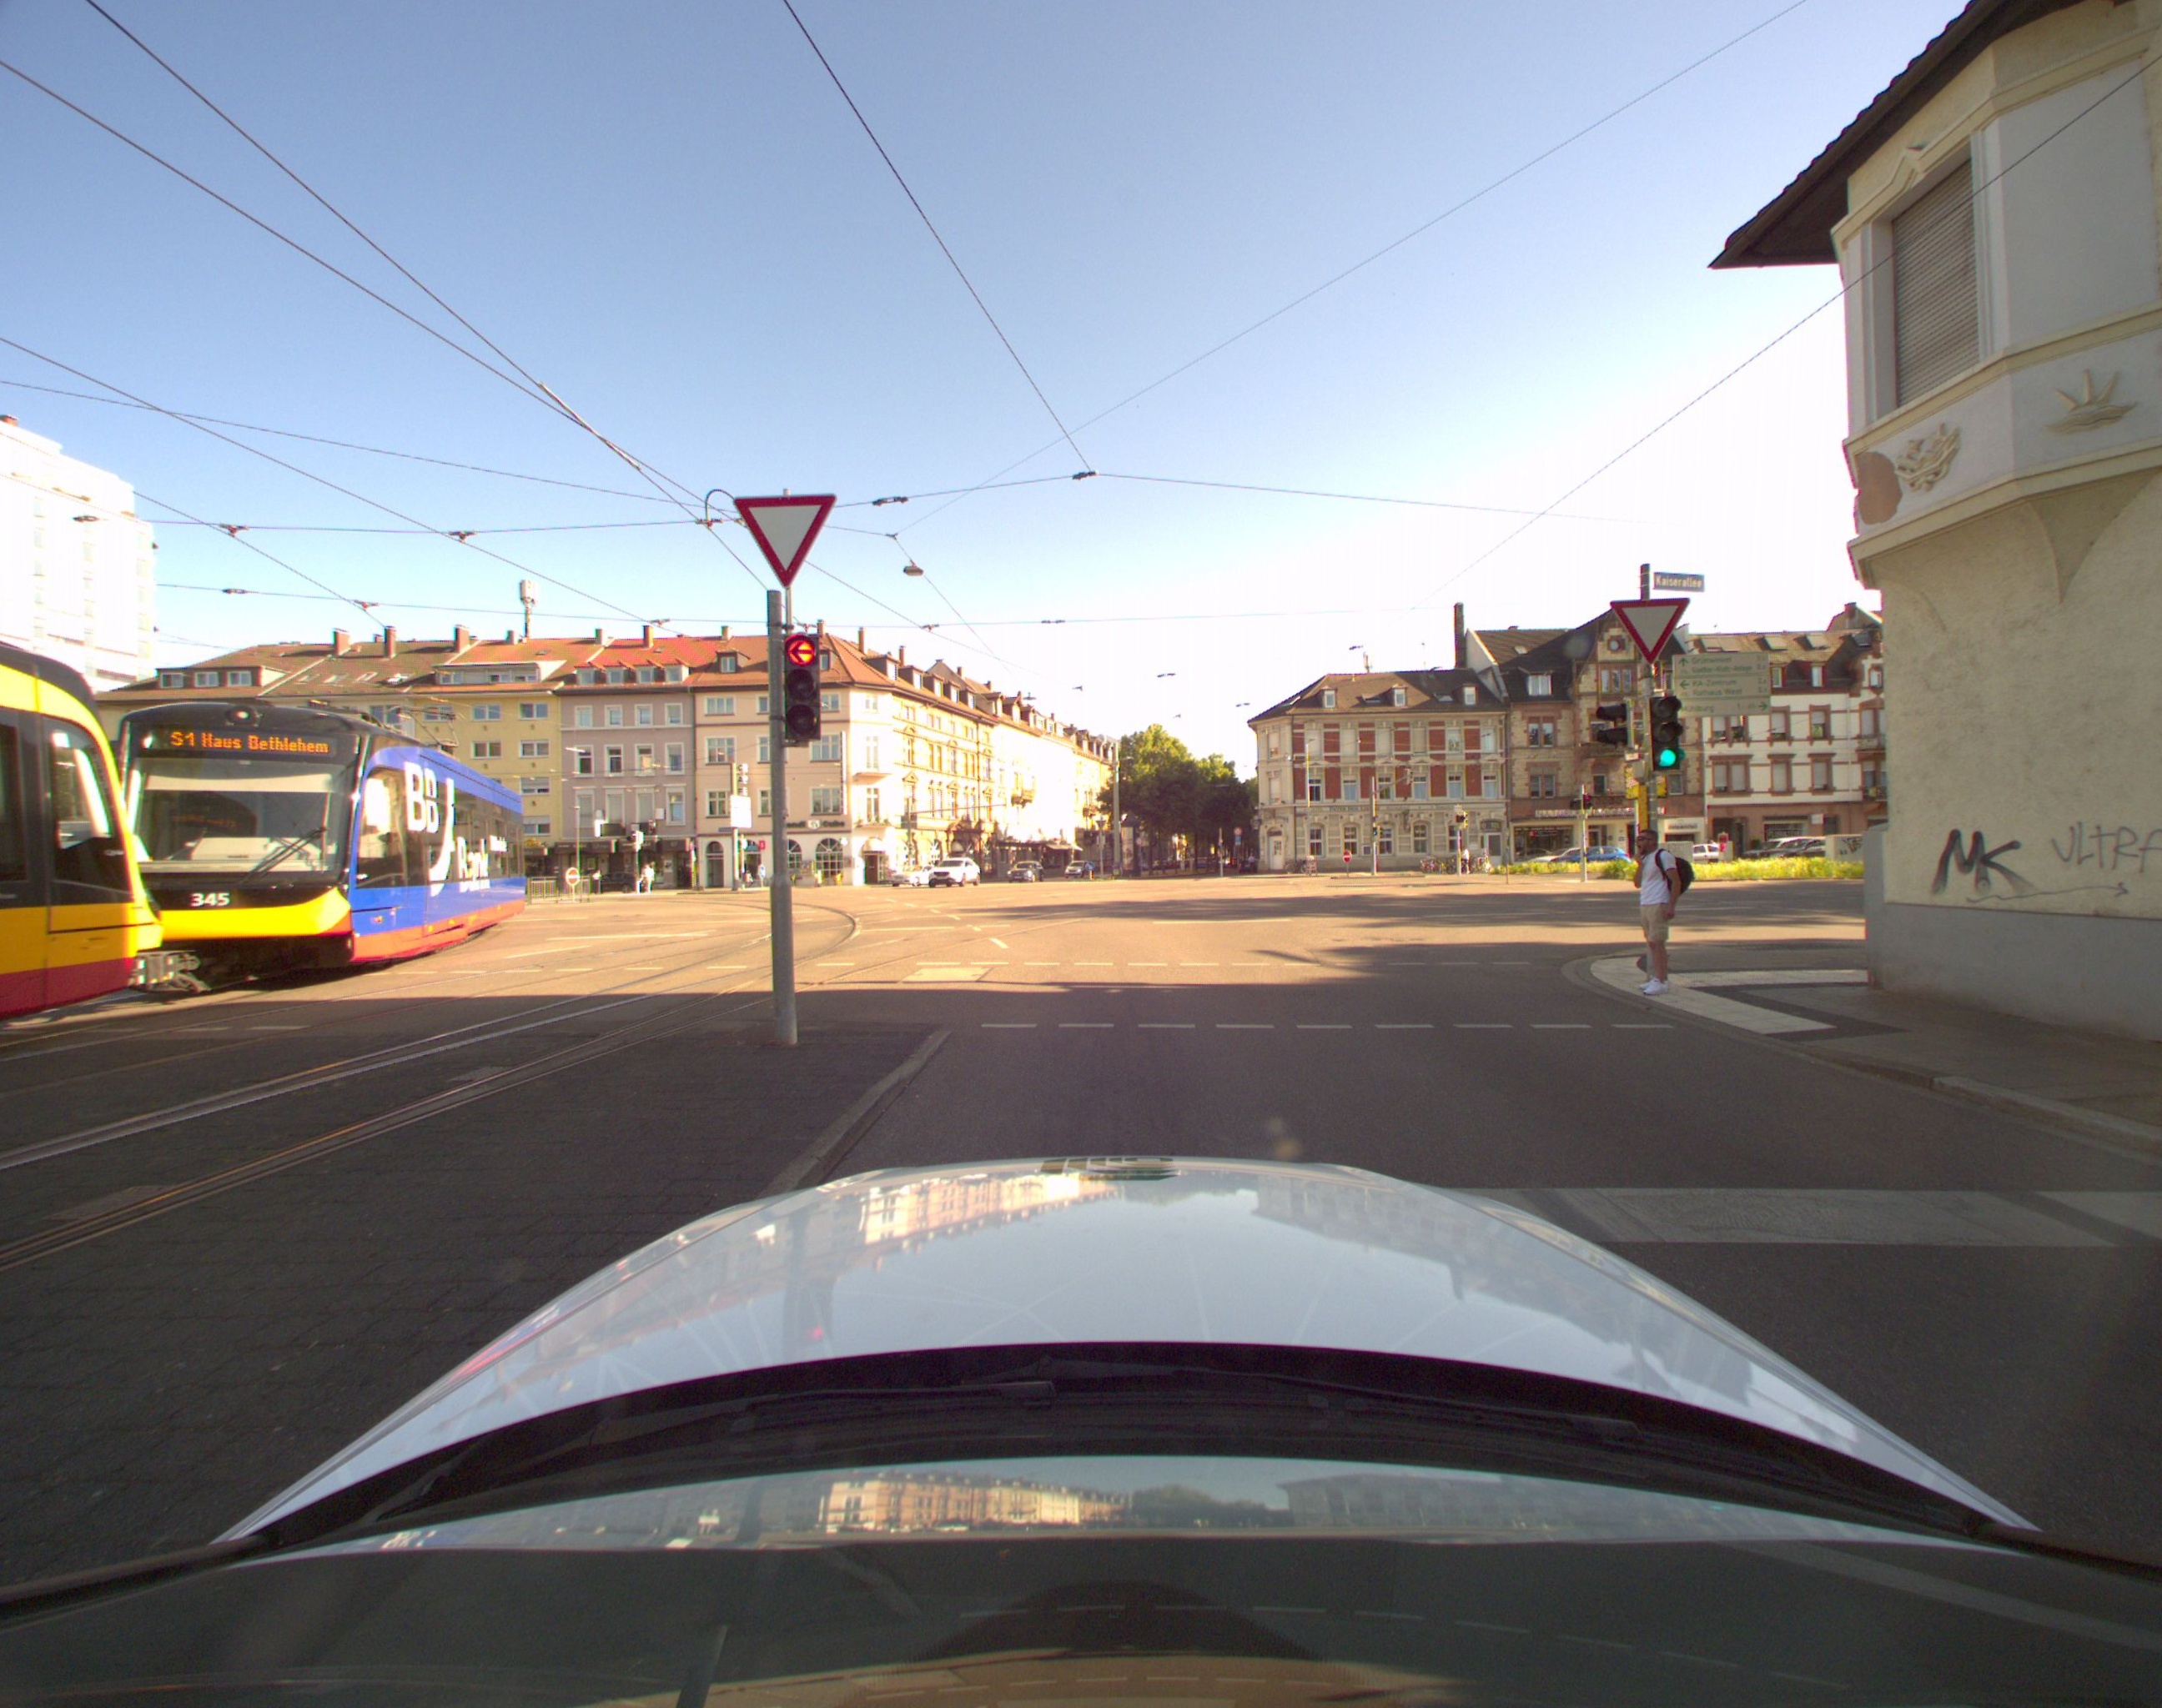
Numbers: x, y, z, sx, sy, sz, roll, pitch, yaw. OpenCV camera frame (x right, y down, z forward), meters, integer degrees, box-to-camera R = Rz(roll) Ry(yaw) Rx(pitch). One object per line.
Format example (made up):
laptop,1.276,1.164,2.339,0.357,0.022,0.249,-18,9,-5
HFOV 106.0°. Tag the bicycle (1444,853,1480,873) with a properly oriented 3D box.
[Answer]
bicycle,23.644,0.583,50.531,1.952,1.191,0.602,-1,0,4

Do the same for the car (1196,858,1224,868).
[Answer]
car,20.270,1.440,128.141,3.949,1.545,2.012,-2,0,30

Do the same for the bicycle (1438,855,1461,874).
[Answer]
bicycle,23.852,0.654,52.784,0.674,1.191,1.969,-1,0,3

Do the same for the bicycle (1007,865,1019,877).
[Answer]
bicycle,-6.704,1.672,79.895,0.491,1.067,1.778,-2,0,18

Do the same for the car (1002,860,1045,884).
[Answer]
car,-3.971,1.201,56.703,1.762,1.497,4.588,-2,0,11

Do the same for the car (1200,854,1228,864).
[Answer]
car,21.934,0.888,134.119,3.949,1.545,2.012,-2,0,30

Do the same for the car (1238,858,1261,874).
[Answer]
car,17.020,1.146,82.190,1.978,1.497,4.051,-2,0,16

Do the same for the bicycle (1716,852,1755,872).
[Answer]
bicycle,40.604,0.473,50.513,1.955,1.191,0.601,-1,0,-2

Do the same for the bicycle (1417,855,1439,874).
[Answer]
bicycle,22.500,0.645,52.790,0.674,1.191,1.969,-1,0,3

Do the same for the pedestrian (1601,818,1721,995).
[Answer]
pedestrian,6.102,0.528,8.578,0.691,1.740,0.668,-4,-1,-28

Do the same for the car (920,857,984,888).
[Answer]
car,-6.668,0.931,42.508,1.981,1.497,4.359,-2,0,9

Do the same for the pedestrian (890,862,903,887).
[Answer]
pedestrian,-12.737,1.415,56.298,0.670,1.642,0.581,-2,0,15

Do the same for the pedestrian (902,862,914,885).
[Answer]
pedestrian,-12.256,1.367,57.669,0.626,1.642,0.554,-2,0,15

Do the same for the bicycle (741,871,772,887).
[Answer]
bicycle,-22.809,1.728,57.295,1.940,1.067,0.582,-1,0,-6

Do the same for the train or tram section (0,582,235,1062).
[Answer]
train or tram section,-9.148,-0.232,1.791,3.052,3.613,12.085,-1,0,-7

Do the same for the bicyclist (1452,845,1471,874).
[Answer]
bicyclist,23.598,0.363,50.540,0.869,1.764,0.602,-1,0,4

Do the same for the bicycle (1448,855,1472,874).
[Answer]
bicycle,24.526,0.696,52.760,0.674,1.191,1.969,-1,0,3

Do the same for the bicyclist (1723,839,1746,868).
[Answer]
bicyclist,40.538,-0.019,50.519,0.900,1.764,0.601,-1,0,-1

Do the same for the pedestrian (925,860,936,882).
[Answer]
pedestrian,-11.672,1.331,63.114,0.546,1.642,0.635,-2,0,16

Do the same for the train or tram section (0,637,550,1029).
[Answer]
train or tram section,-11.729,-0.141,13.292,3.069,3.613,12.019,-1,0,-23

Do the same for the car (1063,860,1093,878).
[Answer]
car,-0.264,1.286,72.810,1.705,1.497,3.599,-2,0,16

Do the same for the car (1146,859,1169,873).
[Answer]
car,9.182,1.425,97.319,1.978,1.497,4.051,-2,0,16

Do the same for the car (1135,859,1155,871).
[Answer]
car,8.939,1.551,112.862,1.978,1.497,4.051,-2,0,16

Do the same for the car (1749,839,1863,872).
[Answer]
car,39.759,0.064,44.723,4.456,1.668,1.955,-1,0,1

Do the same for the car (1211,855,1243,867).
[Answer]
car,20.864,1.006,116.192,3.948,1.545,2.013,-2,0,32

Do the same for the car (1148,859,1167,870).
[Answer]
car,11.527,1.613,122.529,1.978,1.497,4.051,-2,0,16

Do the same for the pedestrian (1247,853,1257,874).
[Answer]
pedestrian,13.524,0.731,64.382,0.710,1.669,0.943,-2,0,14

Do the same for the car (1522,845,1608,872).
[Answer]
car,28.513,0.260,48.046,3.973,1.412,1.846,-1,0,1

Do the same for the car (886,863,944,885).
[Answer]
car,-10.891,1.294,53.733,1.978,1.355,4.240,-2,0,16

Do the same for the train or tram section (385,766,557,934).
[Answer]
train or tram section,-17.571,-0.008,23.438,3.080,3.613,12.360,-1,0,-38

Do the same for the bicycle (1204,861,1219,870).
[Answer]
bicycle,15.878,1.355,99.063,0.586,1.067,1.928,-1,0,-34

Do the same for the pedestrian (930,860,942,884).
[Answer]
pedestrian,-11.147,1.396,62.569,0.575,1.836,0.636,-2,0,18

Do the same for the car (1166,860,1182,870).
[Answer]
car,15.566,1.876,136.372,1.978,1.497,4.051,-2,0,16

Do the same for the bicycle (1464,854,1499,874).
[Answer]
bicycle,25.748,0.639,52.332,1.961,1.191,0.677,-1,0,-10

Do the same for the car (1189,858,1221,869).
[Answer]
car,17.537,1.337,115.450,3.949,1.545,2.012,-2,0,30

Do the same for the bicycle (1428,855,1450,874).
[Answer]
bicycle,23.202,0.655,52.799,0.674,1.191,1.969,-1,0,3

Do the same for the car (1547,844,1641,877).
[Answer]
car,28.321,0.338,45.053,3.973,1.668,1.955,-1,0,1

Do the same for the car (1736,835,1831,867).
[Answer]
car,45.239,-0.188,52.520,4.388,1.965,1.955,-1,0,1

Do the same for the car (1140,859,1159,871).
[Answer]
car,9.910,1.580,117.328,1.978,1.497,4.051,-2,0,16

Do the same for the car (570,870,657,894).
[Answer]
car,-30.698,1.828,53.557,4.626,1.440,1.743,-1,-1,-1

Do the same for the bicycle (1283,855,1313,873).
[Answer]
bicycle,15.192,0.716,56.984,1.950,1.191,0.547,-2,0,6

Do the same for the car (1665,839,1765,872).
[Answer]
car,34.808,0.092,44.787,3.973,1.668,1.955,-1,0,1

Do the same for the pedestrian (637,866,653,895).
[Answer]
pedestrian,-24.802,1.499,46.341,0.728,1.627,0.666,-1,0,-24

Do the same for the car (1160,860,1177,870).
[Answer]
car,14.222,1.774,131.671,1.978,1.497,4.051,-2,0,16

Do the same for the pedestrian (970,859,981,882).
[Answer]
pedestrian,-9.046,1.406,69.750,0.676,1.908,0.636,-2,0,18

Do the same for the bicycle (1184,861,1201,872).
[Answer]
bicycle,11.337,1.282,82.669,0.586,1.067,1.928,-1,0,-34
